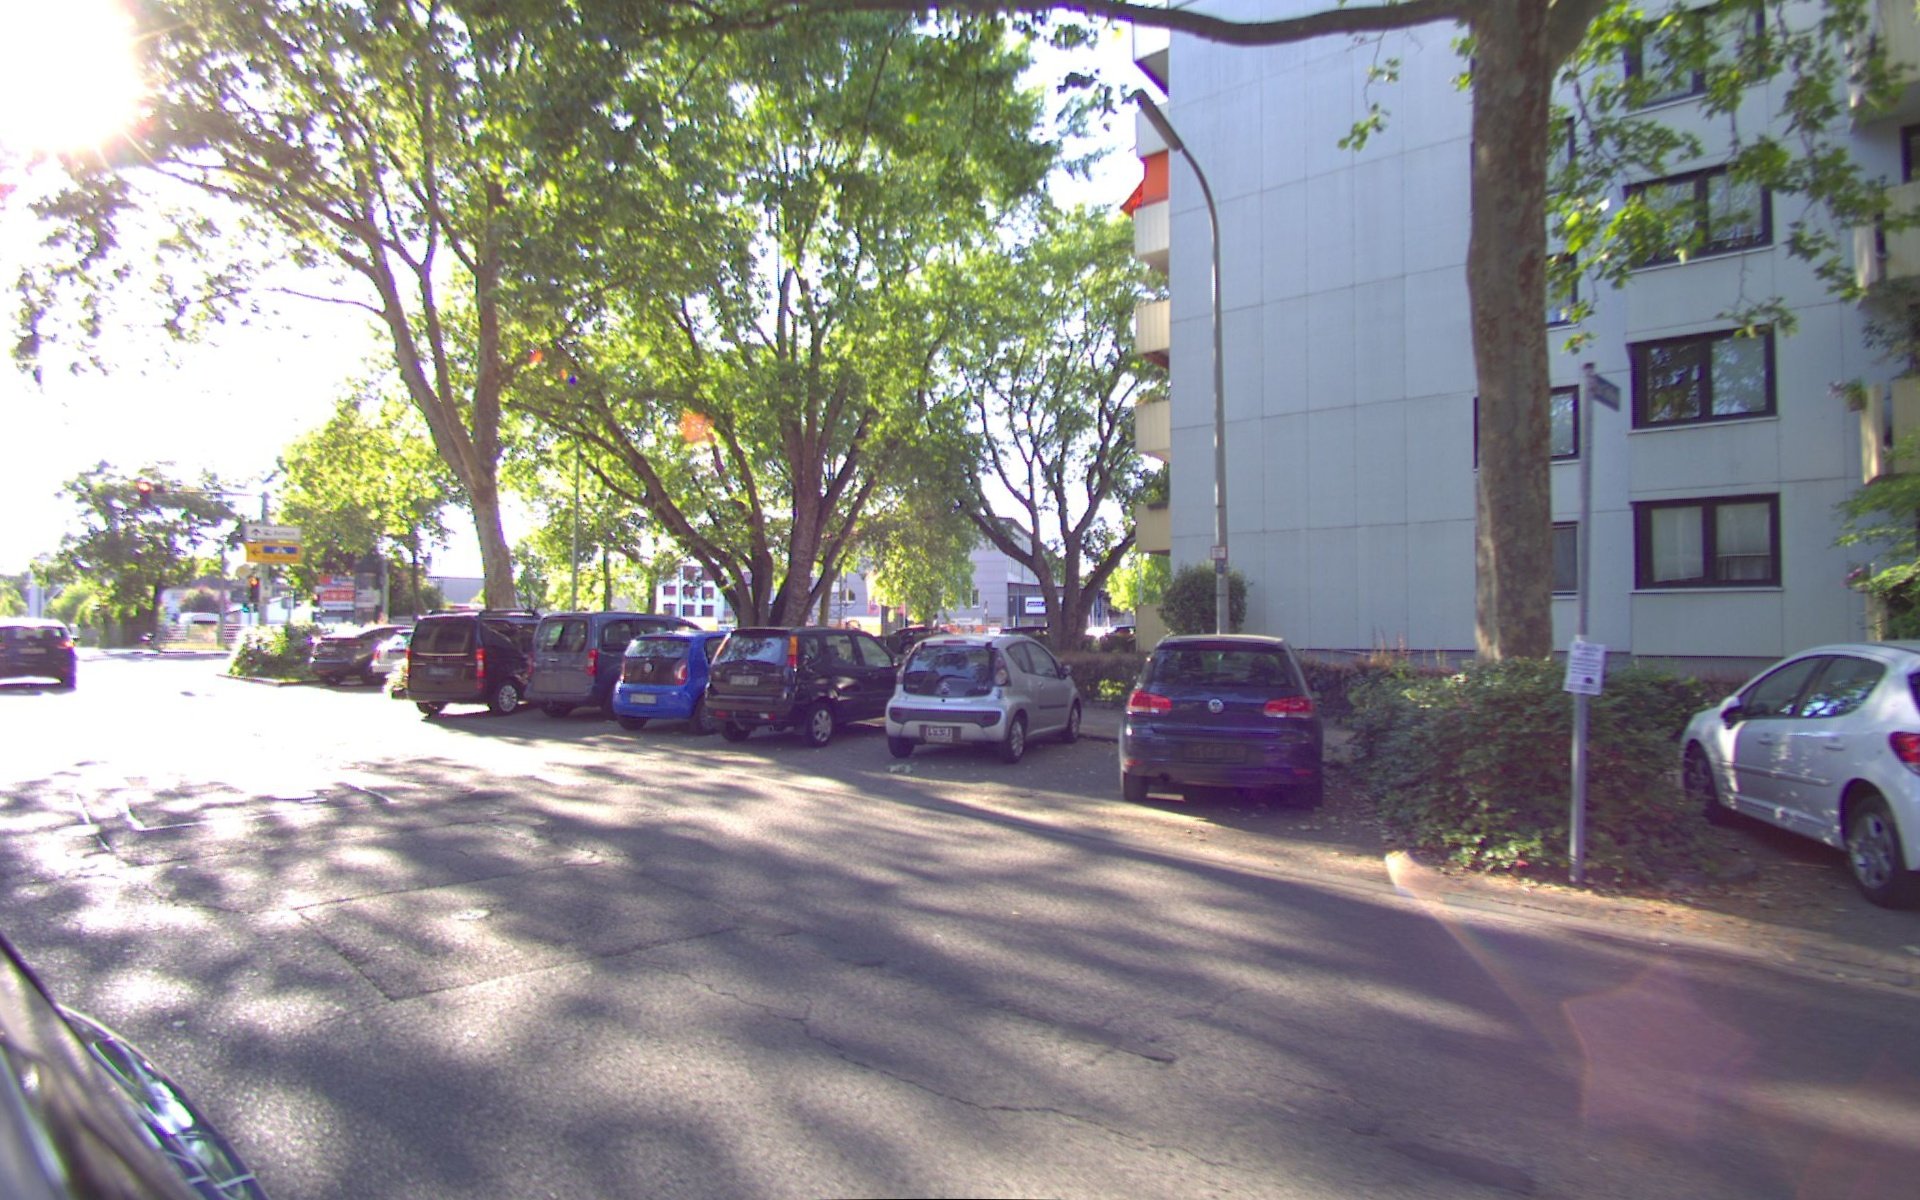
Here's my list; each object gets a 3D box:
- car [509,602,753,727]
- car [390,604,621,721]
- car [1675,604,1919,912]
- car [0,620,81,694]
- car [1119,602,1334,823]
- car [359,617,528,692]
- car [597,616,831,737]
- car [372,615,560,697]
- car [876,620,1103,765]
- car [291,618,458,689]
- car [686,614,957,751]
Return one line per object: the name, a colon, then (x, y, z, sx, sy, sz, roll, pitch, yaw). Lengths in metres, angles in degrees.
car: (-5.649, 1.011, 17.872, 1.825, 1.896, 3.962, -1, 0, 28)
car: (-8.273, 1.043, 18.819, 1.703, 1.901, 3.977, -1, 0, 18)
car: (6.256, 0.833, 6.444, 1.695, 1.572, 3.629, -1, 0, 17)
car: (-23.244, 1.344, 25.051, 4.002, 1.654, 1.938, -1, 0, 44)
car: (2.647, 0.876, 9.774, 1.636, 1.674, 3.628, -1, 0, 18)
car: (-13.015, 1.319, 25.797, 1.700, 1.654, 3.984, -1, 0, 12)
car: (-3.695, 1.082, 15.786, 1.641, 1.572, 3.568, -1, 0, 26)
car: (-11.200, 1.203, 23.258, 1.701, 1.654, 3.981, -1, 0, 15)
car: (0.524, 1.039, 12.919, 1.695, 1.472, 3.621, -1, 0, 23)
car: (-15.447, 1.351, 26.962, 1.698, 1.654, 3.988, -1, 0, 10)
car: (-1.799, 1.023, 14.379, 1.791, 1.637, 3.960, -1, -1, 30)
